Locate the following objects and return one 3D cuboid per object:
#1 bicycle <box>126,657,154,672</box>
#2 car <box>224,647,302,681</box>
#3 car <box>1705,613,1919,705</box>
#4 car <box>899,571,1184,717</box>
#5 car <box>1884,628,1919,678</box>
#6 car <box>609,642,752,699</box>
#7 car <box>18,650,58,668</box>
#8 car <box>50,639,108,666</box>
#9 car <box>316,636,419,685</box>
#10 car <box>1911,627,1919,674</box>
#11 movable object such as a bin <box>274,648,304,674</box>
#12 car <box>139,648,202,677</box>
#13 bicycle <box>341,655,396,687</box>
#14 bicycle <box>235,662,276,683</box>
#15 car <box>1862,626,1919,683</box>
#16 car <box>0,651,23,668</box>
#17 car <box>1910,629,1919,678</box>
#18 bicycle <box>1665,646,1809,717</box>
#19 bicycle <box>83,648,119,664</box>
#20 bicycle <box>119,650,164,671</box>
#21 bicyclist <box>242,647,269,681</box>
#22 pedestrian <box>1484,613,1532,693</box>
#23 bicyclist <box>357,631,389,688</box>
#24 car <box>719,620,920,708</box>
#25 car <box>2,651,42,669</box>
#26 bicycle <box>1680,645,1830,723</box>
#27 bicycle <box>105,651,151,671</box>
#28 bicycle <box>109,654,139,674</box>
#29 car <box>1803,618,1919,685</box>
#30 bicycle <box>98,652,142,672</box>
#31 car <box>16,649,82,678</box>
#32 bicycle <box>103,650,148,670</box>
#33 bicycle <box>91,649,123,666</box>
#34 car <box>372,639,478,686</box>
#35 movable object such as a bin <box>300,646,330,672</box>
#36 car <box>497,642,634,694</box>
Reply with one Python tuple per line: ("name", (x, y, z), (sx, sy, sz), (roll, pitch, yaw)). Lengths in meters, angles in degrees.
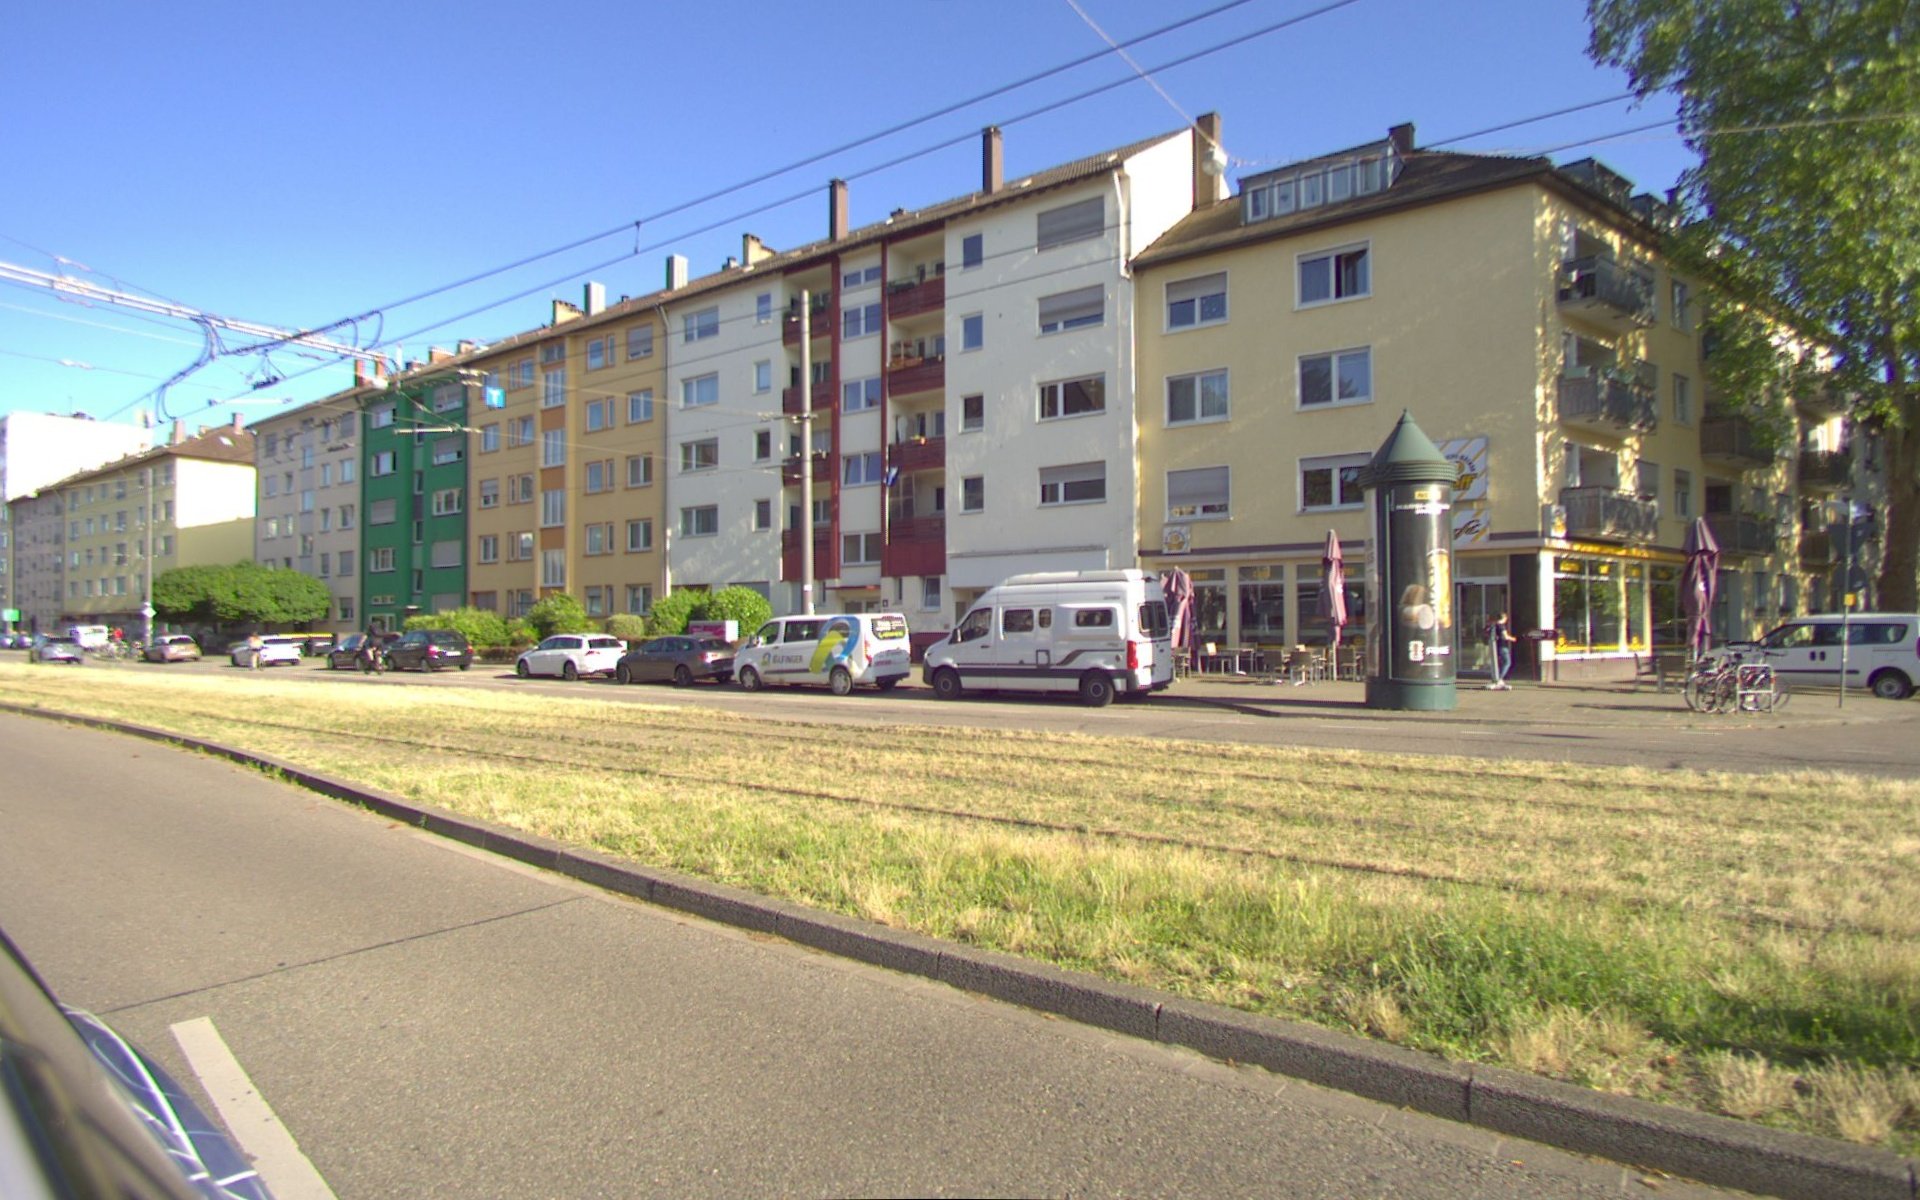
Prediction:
("bicycle", (-48.274, 3.799, 59.576), (2.042, 0.872, 0.374), (-2, 0, 24))
("car", (-33.182, 3.026, 48.140), (4.367, 1.465, 1.713), (-2, -2, 36))
("car", (19.632, 1.272, 22.959), (1.969, 1.840, 4.006), (-2, 0, -40))
("car", (1.680, 0.979, 22.738), (6.216, 2.890, 2.014), (-2, -2, 37))
("car", (31.710, 1.689, 31.520), (1.851, 1.582, 4.010), (3, -3, -34))
("car", (-8.340, 2.066, 30.048), (4.313, 1.526, 1.681), (-2, -2, 33))
("car", (-79.383, 5.045, 87.115), (3.760, 1.395, 1.767), (-2, 0, 35))
("car", (-69.986, 4.202, 80.390), (5.483, 1.964, 1.978), (-2, 0, 33))
("car", (-24.593, 2.477, 41.957), (4.599, 1.851, 1.976), (-2, 0, 36))
("car", (35.557, 1.778, 34.660), (1.851, 1.626, 4.010), (3, -3, -34))
("movable object such as a bin", (-37.328, 3.379, 56.295), (1.038, 1.378, 1.136), (-2, 0, 38))
("car", (-43.420, 3.419, 55.665), (3.724, 1.453, 1.622), (-2, -1, 34))
("bicycle", (-21.643, 2.579, 37.015), (2.469, 1.155, 0.761), (-2, -5, 36))
("bicycle", (-29.806, 3.057, 42.811), (2.064, 0.886, 0.761), (-2, -4, 36))
("car", (29.746, 1.638, 30.033), (1.967, 1.677, 4.071), (2, -3, -34))
("car", (-88.439, 5.501, 93.440), (4.403, 1.395, 1.768), (-2, 0, 34))
("car", (33.650, 1.783, 32.687), (1.851, 1.626, 4.010), (3, -3, -34))
("bicycle", (13.564, 1.419, 17.699), (2.062, 1.193, 0.519), (0, 0, 2))
("bicycle", (-66.397, 4.325, 78.216), (0.471, 1.114, 2.079), (-2, 0, 36))
("bicycle", (-48.934, 3.623, 60.528), (2.019, 1.101, 0.617), (-2, 0, -27))
("bicyclist", (-29.771, 2.702, 42.780), (0.647, 1.394, 0.766), (-2, -3, 36))
("pedestrian", (12.700, 1.223, 23.461), (0.835, 1.799, 0.683), (-2, 0, 22))
("bicyclist", (-21.431, 2.163, 36.932), (0.647, 2.029, 0.766), (-2, 0, 36))
("car", (-3.779, 1.633, 26.701), (5.361, 2.036, 2.014), (-2, 0, 37))
("car", (-83.679, 5.311, 90.235), (4.405, 1.431, 1.767), (-2, 0, 36))
("bicycle", (13.443, 1.415, 17.142), (2.062, 1.261, 0.519), (-1, 0, 2))
("bicycle", (-50.226, 3.674, 61.110), (0.615, 1.101, 2.026), (-2, 0, 41))
("bicycle", (-48.610, 3.717, 58.851), (1.924, 1.101, 0.507), (-2, 0, 24))
("car", (26.889, 1.473, 28.831), (1.967, 1.857, 4.010), (3, -3, -34))
("bicycle", (-51.932, 3.845, 62.591), (0.615, 1.101, 2.026), (-2, 0, 41))
("car", (-46.542, 3.235, 51.693), (4.209, 1.459, 1.679), (-2, -4, 37))
("bicycle", (-50.715, 3.634, 61.551), (0.615, 1.101, 2.026), (-2, 0, 41))
("bicycle", (-64.896, 4.364, 76.981), (0.389, 1.114, 1.803), (-2, 0, 36))
("car", (-20.651, 2.389, 39.041), (4.142, 1.620, 1.976), (-2, 0, 36))
("movable object such as a bin", (-36.551, 3.352, 57.318), (1.038, 1.378, 1.136), (-2, 0, 38))
("car", (-13.014, 2.210, 33.296), (4.690, 1.503, 1.877), (-2, -1, 34))
